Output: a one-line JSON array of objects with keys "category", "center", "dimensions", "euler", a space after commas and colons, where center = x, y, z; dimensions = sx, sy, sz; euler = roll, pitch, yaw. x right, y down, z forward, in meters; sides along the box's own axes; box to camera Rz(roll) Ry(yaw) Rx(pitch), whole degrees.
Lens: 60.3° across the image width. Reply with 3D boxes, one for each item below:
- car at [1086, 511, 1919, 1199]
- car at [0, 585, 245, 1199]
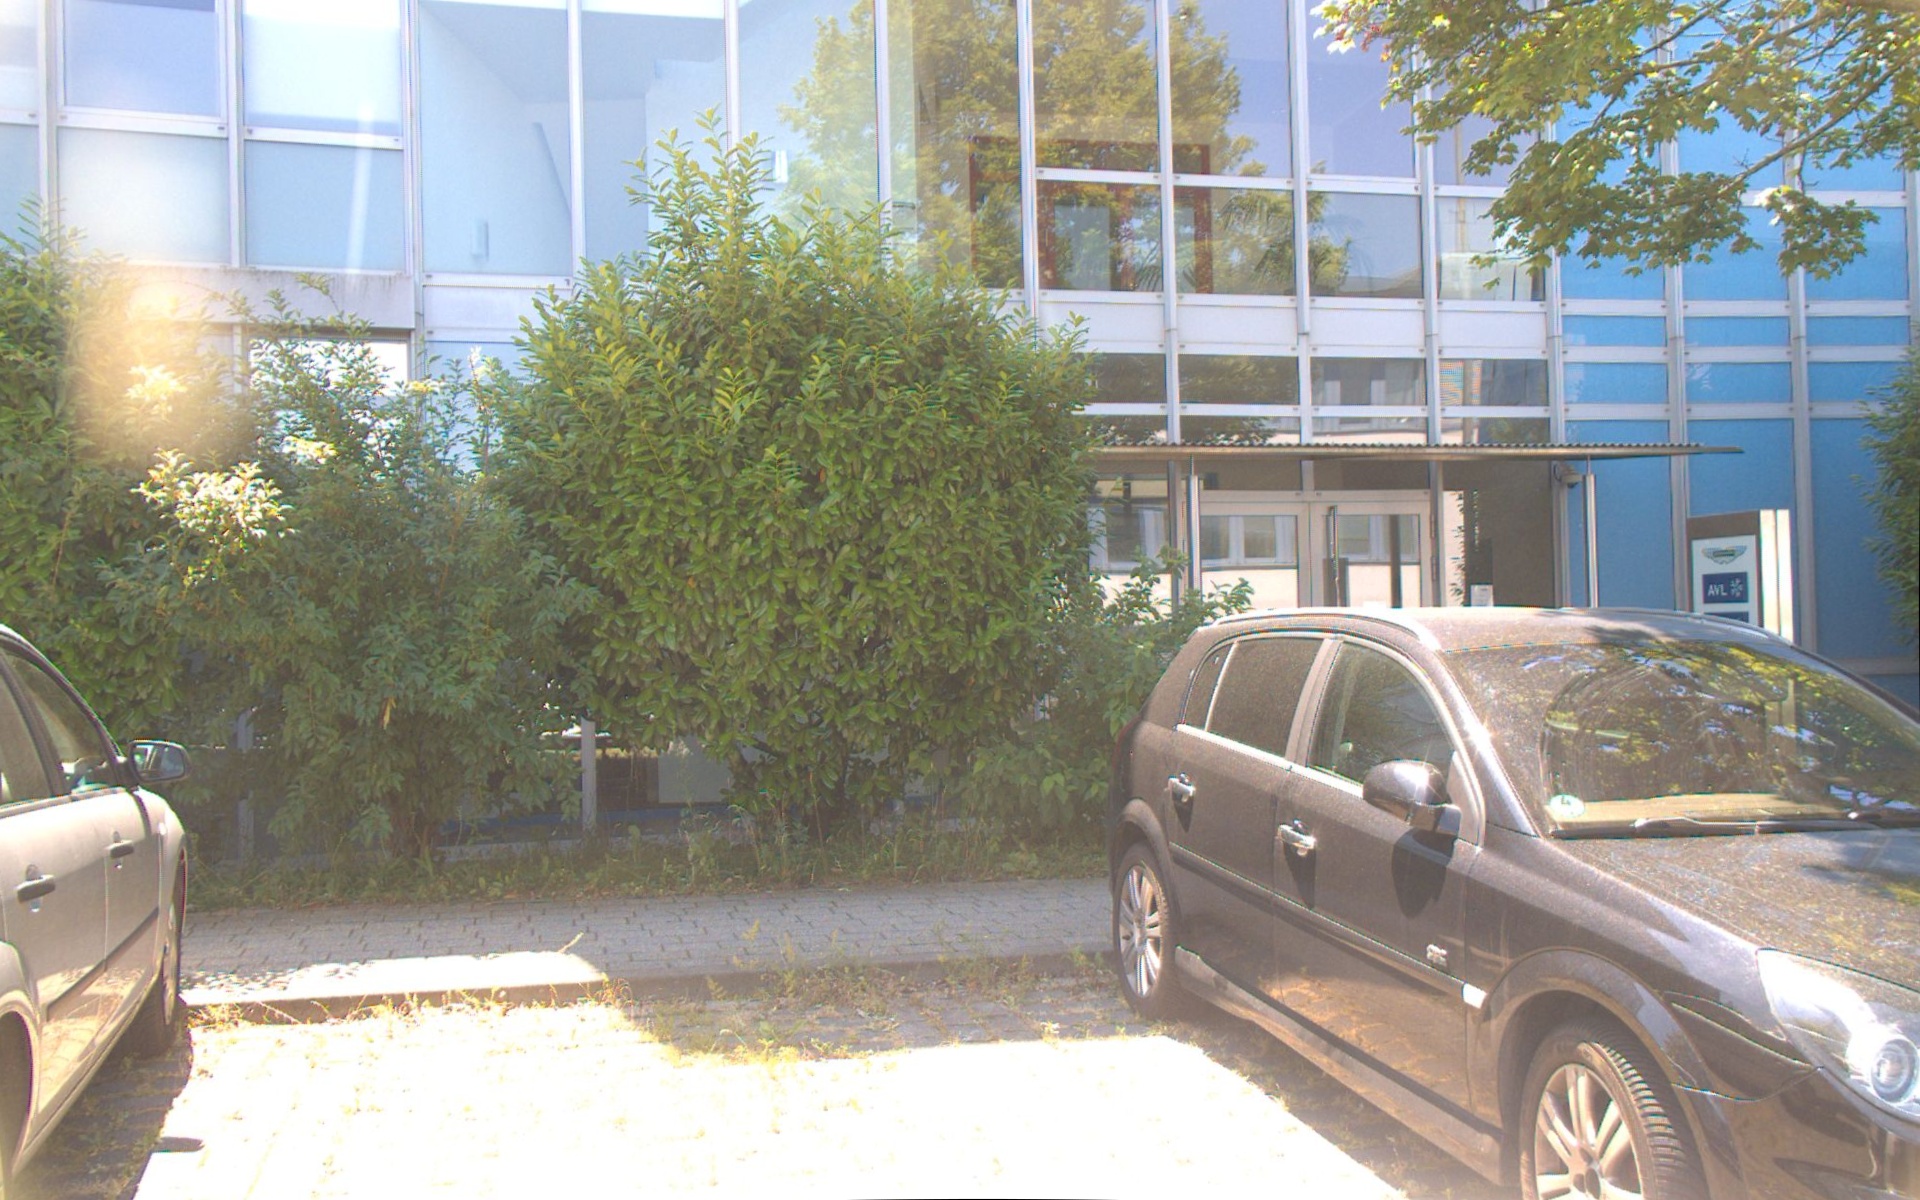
[{"category": "car", "center": [1.833, 0.687, 4.768], "dimensions": [1.727, 1.576, 4.551], "euler": [0, -1, -12]}, {"category": "car", "center": [-2.918, 0.742, 3.973], "dimensions": [1.692, 1.505, 4.328], "euler": [0, -1, -17]}]
